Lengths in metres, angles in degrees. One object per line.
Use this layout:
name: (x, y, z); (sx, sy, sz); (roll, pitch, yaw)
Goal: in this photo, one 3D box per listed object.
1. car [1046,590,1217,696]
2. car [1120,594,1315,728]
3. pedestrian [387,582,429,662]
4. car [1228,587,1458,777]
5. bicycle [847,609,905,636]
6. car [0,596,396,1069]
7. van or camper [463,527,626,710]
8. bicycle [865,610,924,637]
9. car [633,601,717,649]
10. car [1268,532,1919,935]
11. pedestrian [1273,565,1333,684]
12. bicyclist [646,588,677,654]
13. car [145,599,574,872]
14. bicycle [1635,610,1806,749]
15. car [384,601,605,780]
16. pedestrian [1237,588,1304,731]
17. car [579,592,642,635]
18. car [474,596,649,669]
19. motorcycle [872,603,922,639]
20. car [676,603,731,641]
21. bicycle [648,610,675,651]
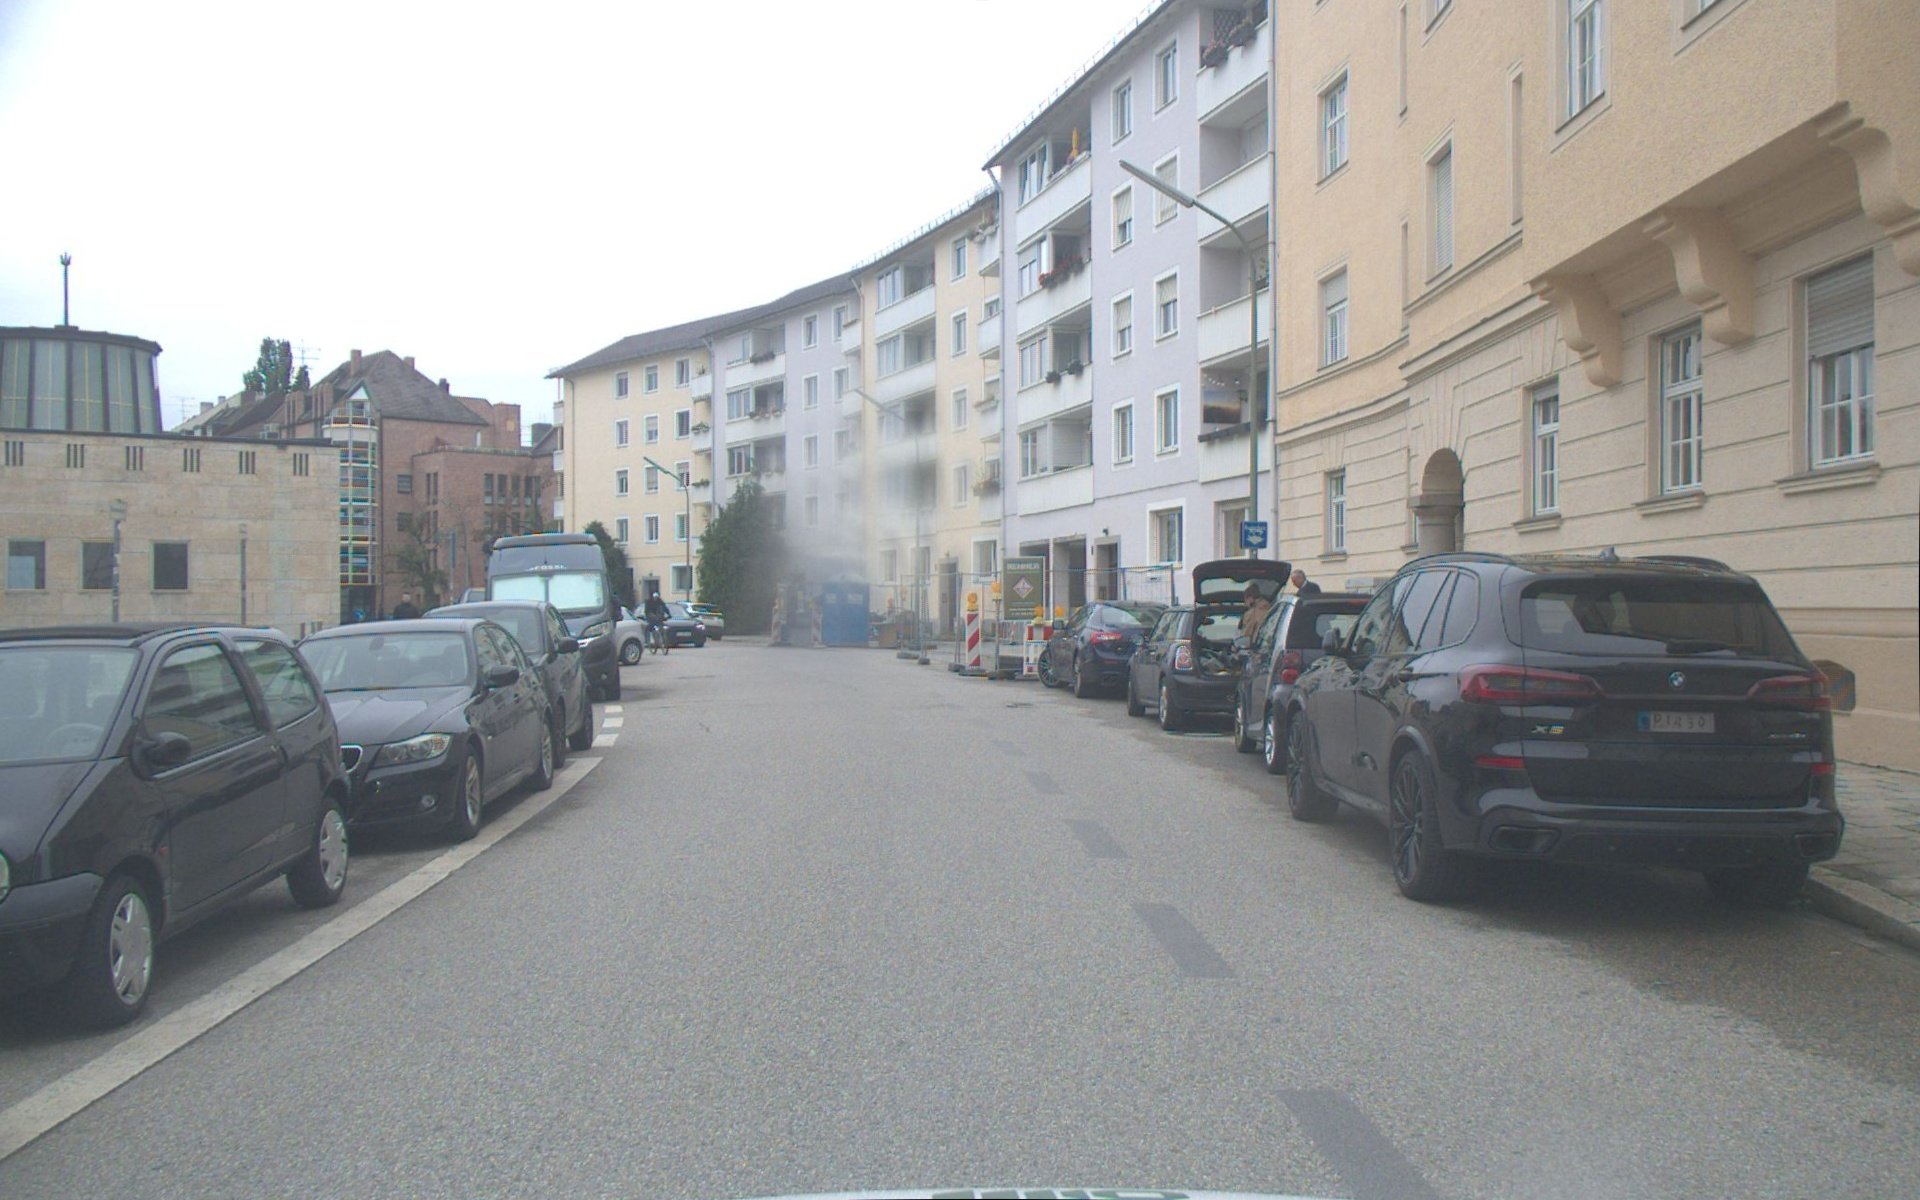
car: (2.609, 0.607, 26.394); (1.871, 1.503, 4.942); (1, 0, -4)
car: (3.019, 0.669, 20.066); (1.598, 1.442, 3.677); (1, 0, -3)
pedestrian: (-13.141, 0.517, 39.387); (0.833, 1.899, 0.707); (0, 0, -29)
car: (3.474, 0.681, 15.464); (1.482, 1.582, 3.019); (1, 0, 1)
bicycle: (-3.457, 0.929, 67.982); (2.203, 1.088, 0.912); (0, 0, -25)
car: (-3.830, 0.787, 7.149); (1.598, 1.520, 3.602); (-3, 0, -2)
van or camper: (-6.625, 0.241, 26.998); (2.256, 2.626, 6.068); (1, 0, -12)
bicycle: (-2.643, 0.938, 66.689); (2.203, 1.088, 0.912); (0, 0, -25)
car: (-9.580, 0.831, 55.319); (1.892, 1.436, 4.674); (-3, 0, -21)
car: (3.369, 0.577, 9.858); (2.125, 1.769, 5.024); (1, 0, 0)
pedestrian: (5.143, 0.368, 24.847); (0.604, 1.719, 0.919); (-3, 0, 0)
bicyclist: (-8.511, 0.589, 47.117); (0.732, 1.802, 0.812); (-3, 1, -14)
car: (-4.026, 0.786, 11.916); (1.739, 1.491, 4.462); (-2, 0, -5)
bicycle: (6.550, 0.644, 14.362); (0.491, 1.067, 2.138); (-3, 0, 1)
car: (-4.419, 0.800, 16.061); (1.489, 1.491, 2.884); (-2, 0, -5)
pedestrian: (3.436, 0.649, 18.324); (0.615, 1.555, 0.578); (1, 0, -1)
car: (-16.944, 0.650, 80.085); (1.764, 2.011, 3.679); (-2, 0, -32)
car: (-9.424, 0.757, 39.316); (1.682, 1.534, 3.790); (-2, 0, 40)
motorcycle: (-2.238, 0.723, 58.672); (0.919, 1.242, 2.488); (0, 0, -24)
car: (-11.259, 0.937, 72.459); (1.802, 1.601, 3.979); (0, 0, -18)
bicycle: (-8.503, 0.865, 47.103); (0.576, 1.088, 1.930); (-2, 1, -14)
